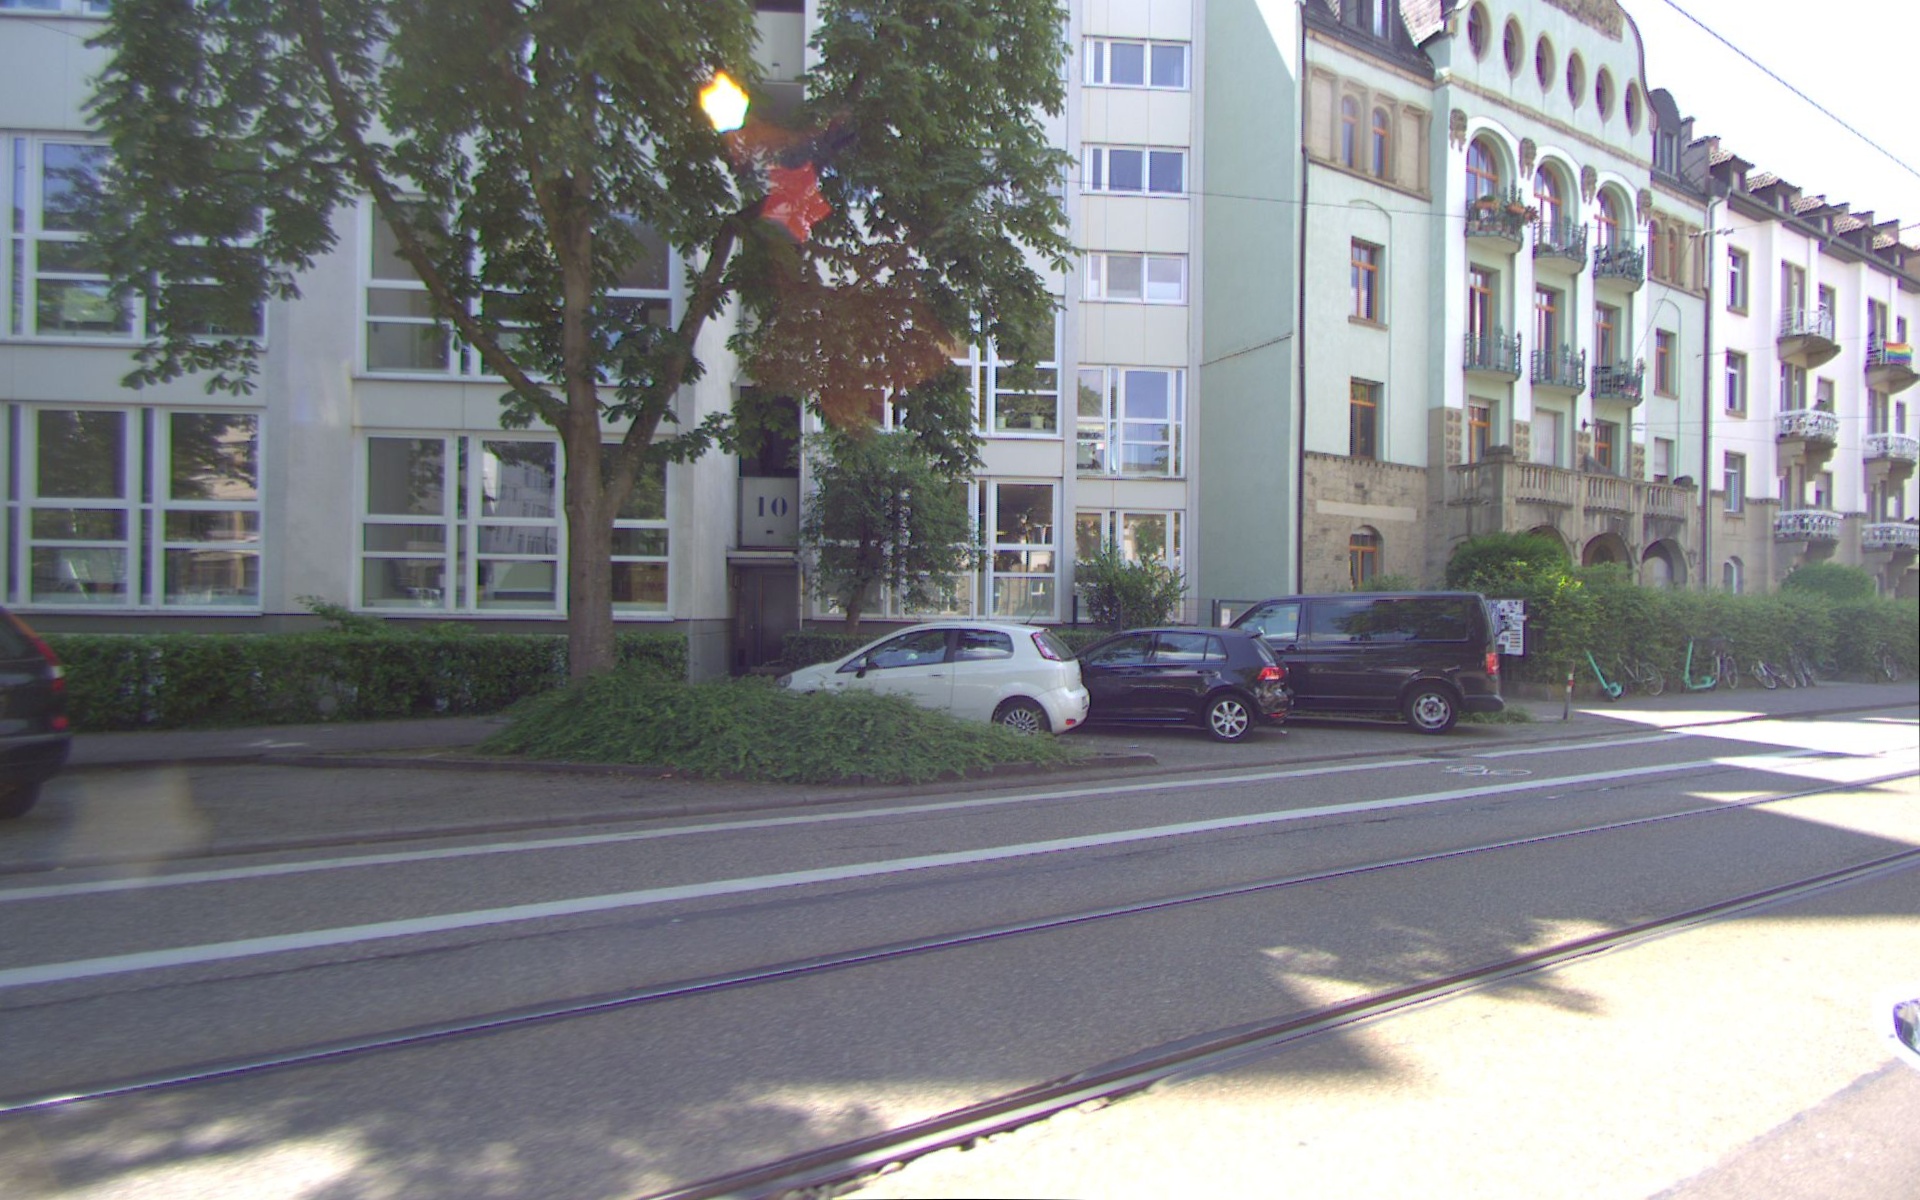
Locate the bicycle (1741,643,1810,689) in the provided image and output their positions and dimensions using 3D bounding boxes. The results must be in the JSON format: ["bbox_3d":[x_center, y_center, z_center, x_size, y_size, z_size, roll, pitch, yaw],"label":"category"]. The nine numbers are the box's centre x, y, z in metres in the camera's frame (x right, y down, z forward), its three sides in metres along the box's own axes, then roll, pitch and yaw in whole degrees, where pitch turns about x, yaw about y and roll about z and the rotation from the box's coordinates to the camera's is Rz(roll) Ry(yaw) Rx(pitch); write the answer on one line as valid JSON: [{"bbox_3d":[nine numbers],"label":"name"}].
[{"bbox_3d":[18.554,1.491,22.835,1.966,0.982,0.540,2,0,-30],"label":"bicycle"}]

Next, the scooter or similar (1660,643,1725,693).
[{"bbox_3d":[15.389,1.412,21.091,1.481,0.982,0.540,1,1,-30],"label":"scooter or similar"}]

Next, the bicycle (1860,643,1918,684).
[{"bbox_3d":[24.275,1.634,26.237,1.966,0.982,0.540,1,1,-30],"label":"bicycle"}]

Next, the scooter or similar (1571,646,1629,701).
[{"bbox_3d":[12.115,1.376,19.010,0.946,0.982,0.540,1,1,-30],"label":"scooter or similar"}]

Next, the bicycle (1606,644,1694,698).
[{"bbox_3d":[13.790,1.401,20.059,2.222,0.982,0.540,1,1,-30],"label":"bicycle"}]

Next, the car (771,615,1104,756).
[{"bbox_3d":[-0.218,0.972,12.319,3.735,1.476,1.706,1,-1,15],"label":"car"}]

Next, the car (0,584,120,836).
[{"bbox_3d":[-8.080,0.718,6.794,3.840,1.621,1.749,0,-2,15],"label":"car"}]

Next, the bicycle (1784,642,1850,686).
[{"bbox_3d":[20.371,1.534,23.870,1.966,0.982,0.540,3,0,-30],"label":"bicycle"}]

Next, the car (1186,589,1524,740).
[{"bbox_3d":[5.733,0.875,14.917,4.400,1.966,1.704,1,-1,22],"label":"car"}]

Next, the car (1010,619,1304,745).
[{"bbox_3d":[2.720,1.051,13.762,3.737,1.476,1.634,1,-2,20],"label":"car"}]

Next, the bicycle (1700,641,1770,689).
[{"bbox_3d":[16.880,1.420,21.871,1.801,0.982,0.540,3,0,-30],"label":"bicycle"}]
